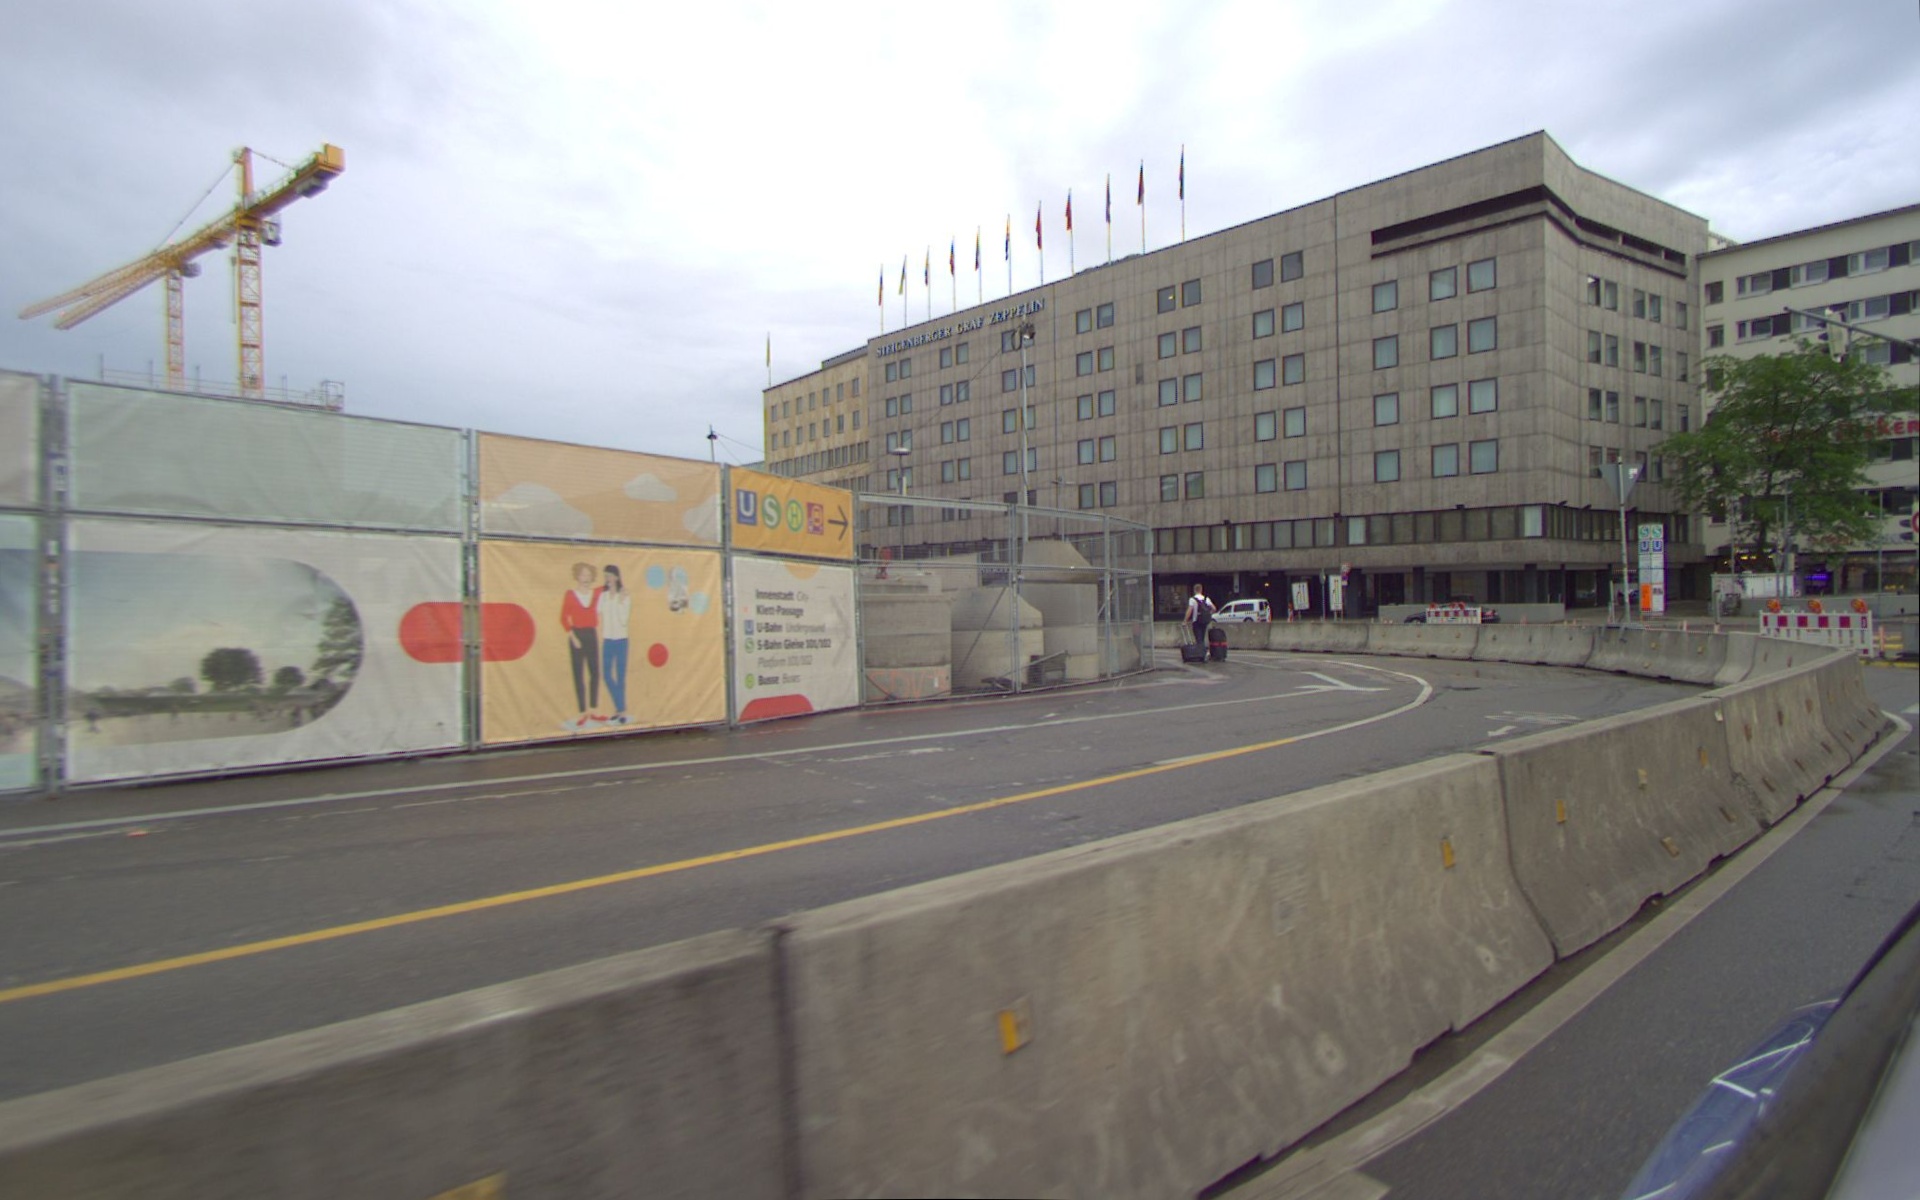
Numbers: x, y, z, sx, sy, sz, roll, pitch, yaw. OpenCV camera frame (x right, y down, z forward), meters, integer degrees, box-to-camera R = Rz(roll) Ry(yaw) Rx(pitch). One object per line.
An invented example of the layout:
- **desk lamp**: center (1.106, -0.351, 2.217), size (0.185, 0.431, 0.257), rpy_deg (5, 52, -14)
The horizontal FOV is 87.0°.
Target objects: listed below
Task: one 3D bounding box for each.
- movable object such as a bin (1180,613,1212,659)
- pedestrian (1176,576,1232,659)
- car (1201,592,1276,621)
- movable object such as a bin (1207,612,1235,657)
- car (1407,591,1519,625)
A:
- **movable object such as a bin**: center (5.387, 0.818, 23.109), size (0.508, 1.029, 0.554), rpy_deg (-1, -1, -10)
- **pedestrian**: center (5.680, 0.400, 23.573), size (0.982, 1.889, 0.780), rpy_deg (-1, -1, -9)
- **car**: center (17.852, 0.446, 65.040), size (1.750, 1.785, 4.361), rpy_deg (-1, -1, -43)
- **movable object such as a bin**: center (6.137, 0.804, 23.787), size (0.423, 1.029, 0.523), rpy_deg (-1, -1, -10)
- **car**: center (25.464, 0.416, 51.332), size (1.985, 1.619, 4.650), rpy_deg (-1, -1, -44)
